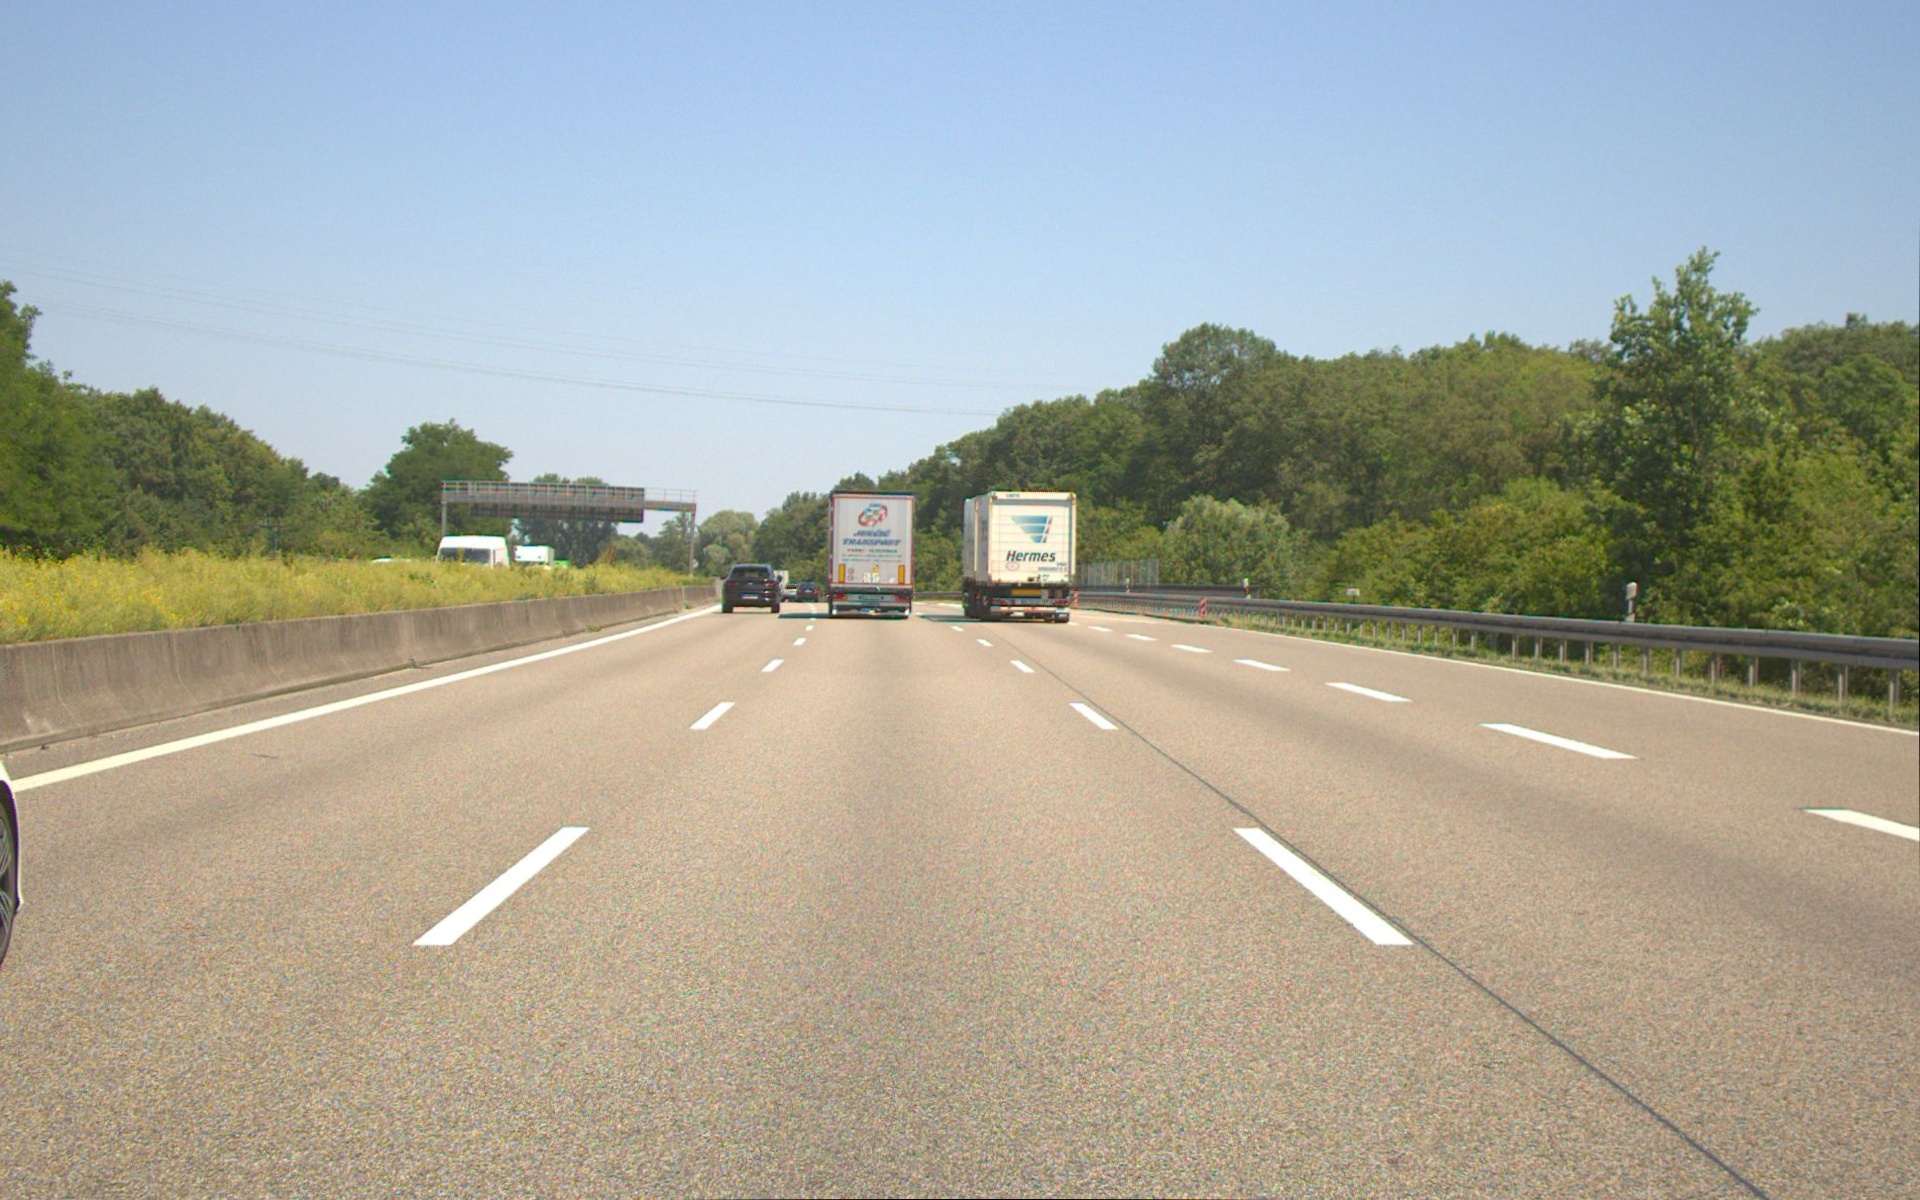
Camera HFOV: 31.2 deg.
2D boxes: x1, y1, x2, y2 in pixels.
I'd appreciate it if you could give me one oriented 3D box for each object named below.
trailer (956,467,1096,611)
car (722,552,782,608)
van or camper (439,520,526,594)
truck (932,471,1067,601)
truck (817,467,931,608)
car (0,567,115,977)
[{"bbox_3d":[1.913,-1.879,104.589,3.367,4.128,9.093,1,1,-4],"label":"trailer"},{"bbox_3d":[-7.315,-0.712,120.806,1.993,1.868,4.001,1,1,-4],"label":"car"},{"bbox_3d":[-15.814,-1.425,114.106,2.250,2.379,6.760,0,1,-3],"label":"van or camper"},{"bbox_3d":[1.204,-2.165,113.806,3.325,4.039,10.956,1,1,-5],"label":"truck"},{"bbox_3d":[-2.774,-1.980,108.116,3.229,4.187,8.467,1,1,-4],"label":"truck"},{"bbox_3d":[-4.267,0.617,11.371,1.767,1.443,5.109,1,1,-1],"label":"car"}]
